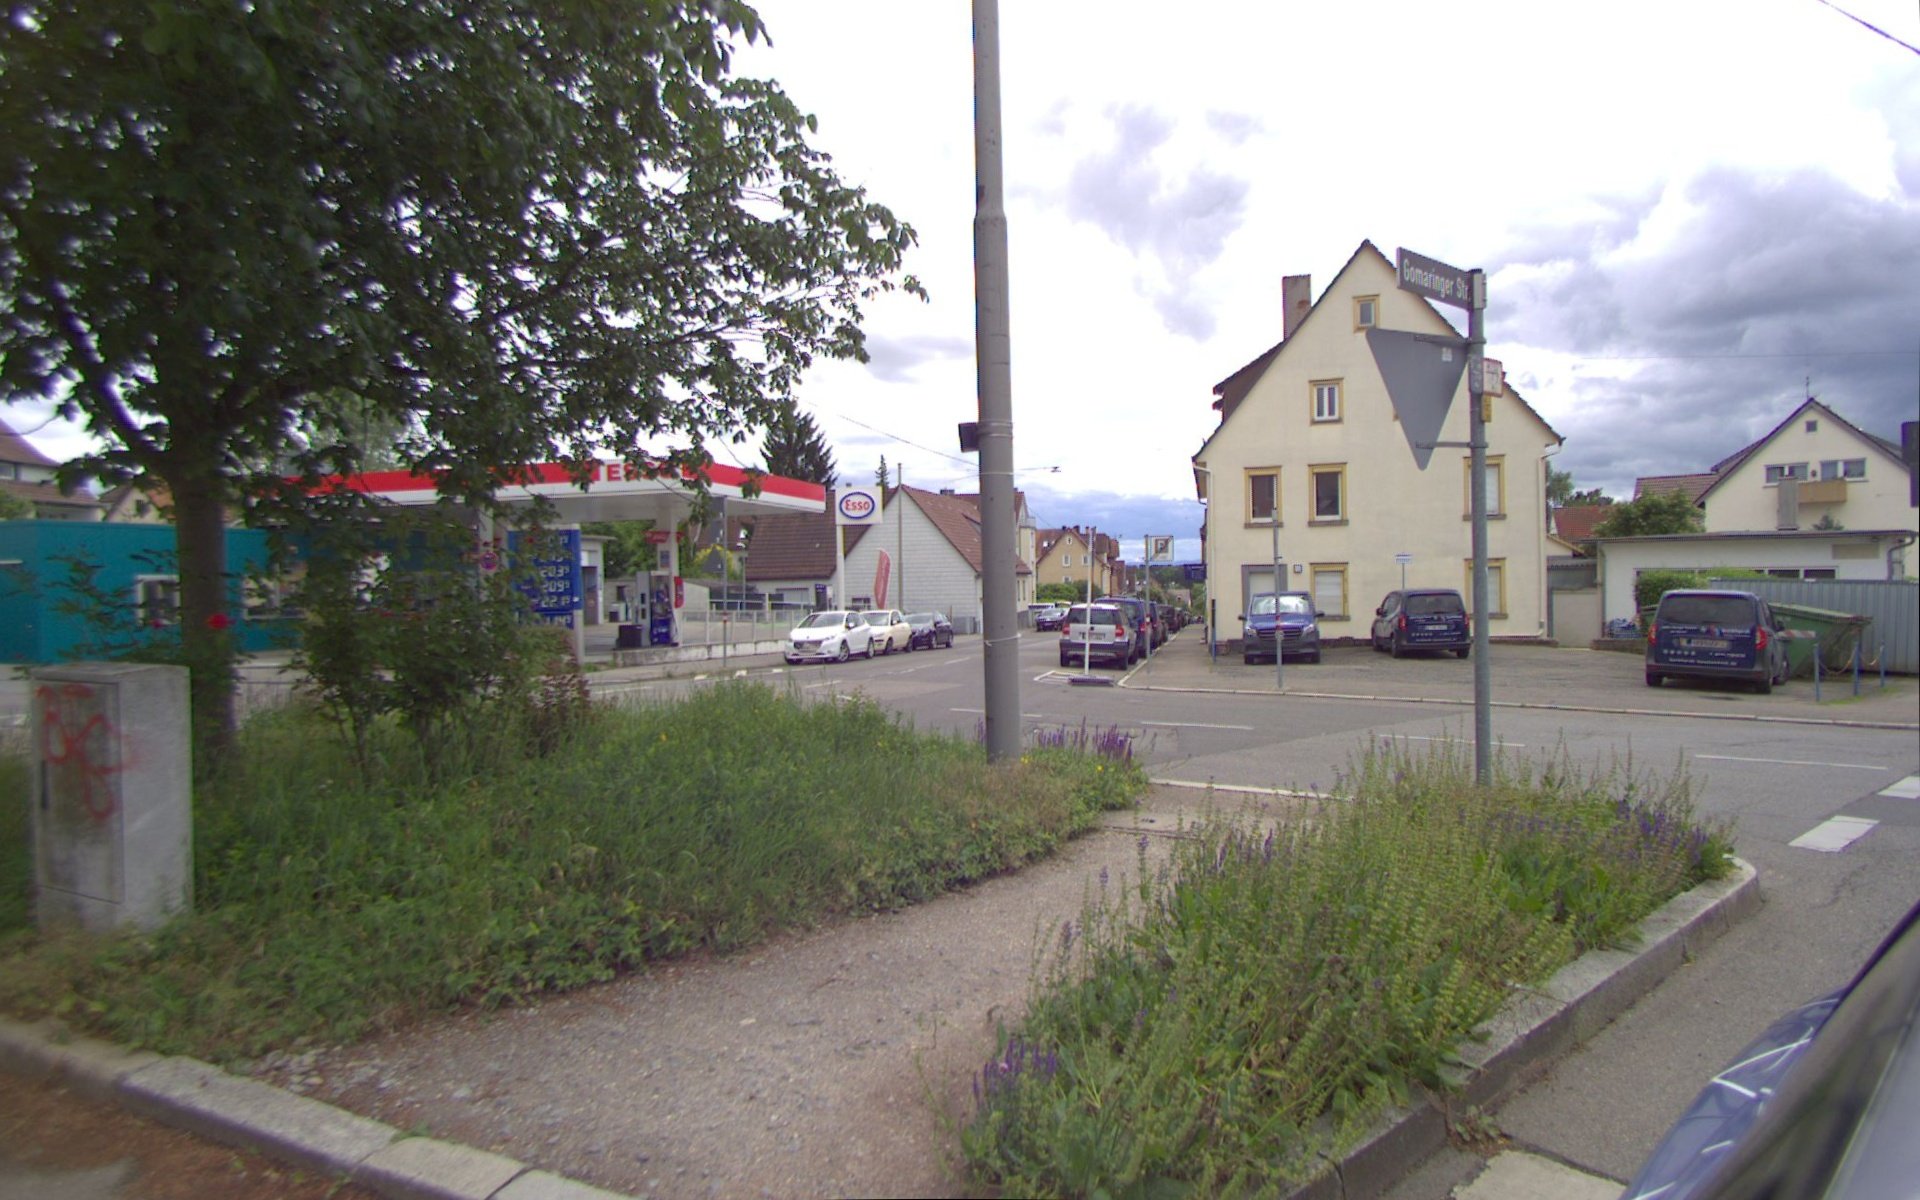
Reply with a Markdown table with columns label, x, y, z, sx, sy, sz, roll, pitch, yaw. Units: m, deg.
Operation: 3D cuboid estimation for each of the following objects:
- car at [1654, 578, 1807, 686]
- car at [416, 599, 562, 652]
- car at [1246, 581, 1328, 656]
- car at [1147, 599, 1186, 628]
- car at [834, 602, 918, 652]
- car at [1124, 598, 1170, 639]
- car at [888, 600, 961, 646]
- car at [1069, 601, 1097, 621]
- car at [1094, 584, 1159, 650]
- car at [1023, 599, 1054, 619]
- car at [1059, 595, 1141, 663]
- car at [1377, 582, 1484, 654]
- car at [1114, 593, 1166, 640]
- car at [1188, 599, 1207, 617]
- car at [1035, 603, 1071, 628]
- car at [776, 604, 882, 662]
| label | x | y | z | sx | sy | sz | roll | pitch | yaw |
| --- | --- | --- | --- | --- | --- | --- | --- | --- | --- |
| car | 14.514 | 0.537 | 18.970 | 1.747 | 1.761 | 4.499 | 2 | 1 | 44 |
| car | -15.155 | 0.776 | 32.879 | 1.896 | 1.480 | 4.464 | 0 | 1 | 15 |
| car | 8.901 | 0.522 | 27.422 | 1.878 | 1.826 | 4.861 | -2 | -2 | 19 |
| car | 13.410 | 0.887 | 65.534 | 2.249 | 1.753 | 3.980 | -2 | -2 | 15 |
| car | -2.757 | 0.877 | 34.152 | 1.604 | 1.493 | 3.750 | 0 | 1 | 16 |
| car | 8.441 | 0.845 | 45.398 | 1.697 | 1.753 | 3.980 | -2 | -2 | 15 |
| car | -1.310 | 0.877 | 38.738 | 1.697 | 1.616 | 3.980 | -2 | -2 | 15 |
| car | 10.746 | 0.959 | 87.995 | 1.849 | 1.616 | 3.881 | -2 | -2 | 15 |
| car | 5.510 | 0.547 | 33.116 | 1.749 | 1.968 | 4.304 | 2 | -1 | 14 |
| car | 6.532 | 0.782 | 83.752 | 1.849 | 1.616 | 3.881 | -2 | -2 | 15 |
| car | 3.812 | 0.764 | 27.001 | 1.749 | 1.639 | 3.982 | -2 | -2 | 14 |
| car | 12.517 | 0.503 | 27.185 | 1.842 | 1.750 | 3.981 | -2 | -2 | 15 |
| car | 7.205 | 0.677 | 40.226 | 1.697 | 1.753 | 3.980 | -2 | -2 | 15 |
| car | 27.274 | 0.925 | 116.343 | 1.970 | 2.040 | 3.983 | -2 | -2 | 13 |
| car | 6.538 | 1.098 | 70.990 | 1.849 | 1.616 | 3.881 | -2 | -2 | 15 |
| car | -3.724 | 0.930 | 29.390 | 1.749 | 1.499 | 3.812 | 2 | -1 | 14 |
